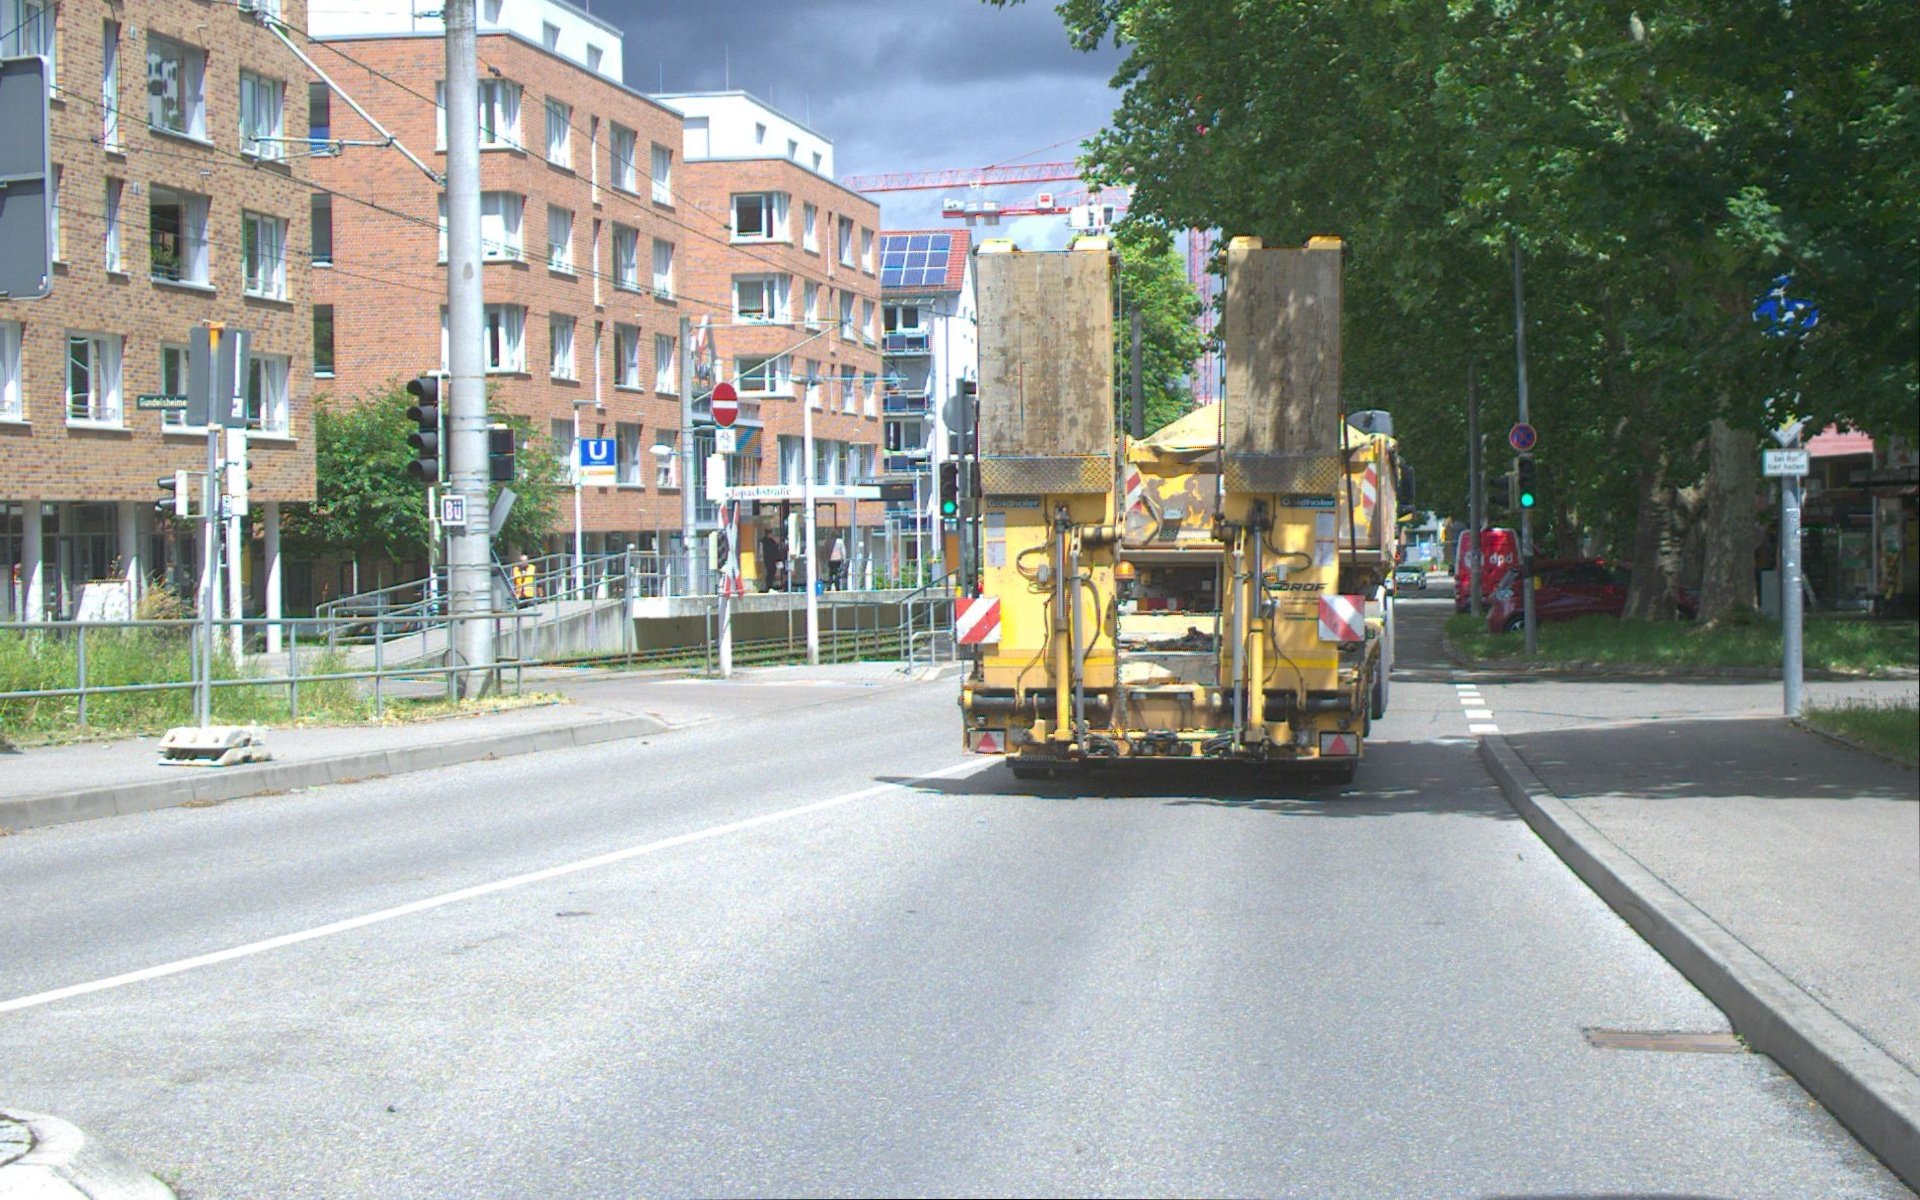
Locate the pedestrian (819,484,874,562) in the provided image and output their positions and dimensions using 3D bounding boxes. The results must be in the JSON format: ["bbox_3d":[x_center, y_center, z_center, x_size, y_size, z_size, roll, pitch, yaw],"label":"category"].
[{"bbox_3d":[-2.944,-1.998,89.221,1.138,2.007,0.997,-1,1,15],"label":"pedestrian"}]

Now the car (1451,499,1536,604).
[{"bbox_3d":[15.201,-1.419,97.749,1.994,2.818,5.112,3,2,11],"label":"car"}]

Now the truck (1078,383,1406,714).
[{"bbox_3d":[3.167,-0.518,36.276,2.989,3.024,8.483,-1,0,7],"label":"truck"}]

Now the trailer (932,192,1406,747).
[{"bbox_3d":[1.901,-0.872,26.631,2.864,3.361,10.838,-1,1,7],"label":"trailer"}]

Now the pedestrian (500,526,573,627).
[{"bbox_3d":[-8.567,-0.474,69.592,1.138,2.007,0.997,-1,1,15],"label":"pedestrian"}]

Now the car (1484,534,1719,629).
[{"bbox_3d":[11.278,-0.341,60.512,3.989,1.506,2.000,1,4,11],"label":"car"}]
